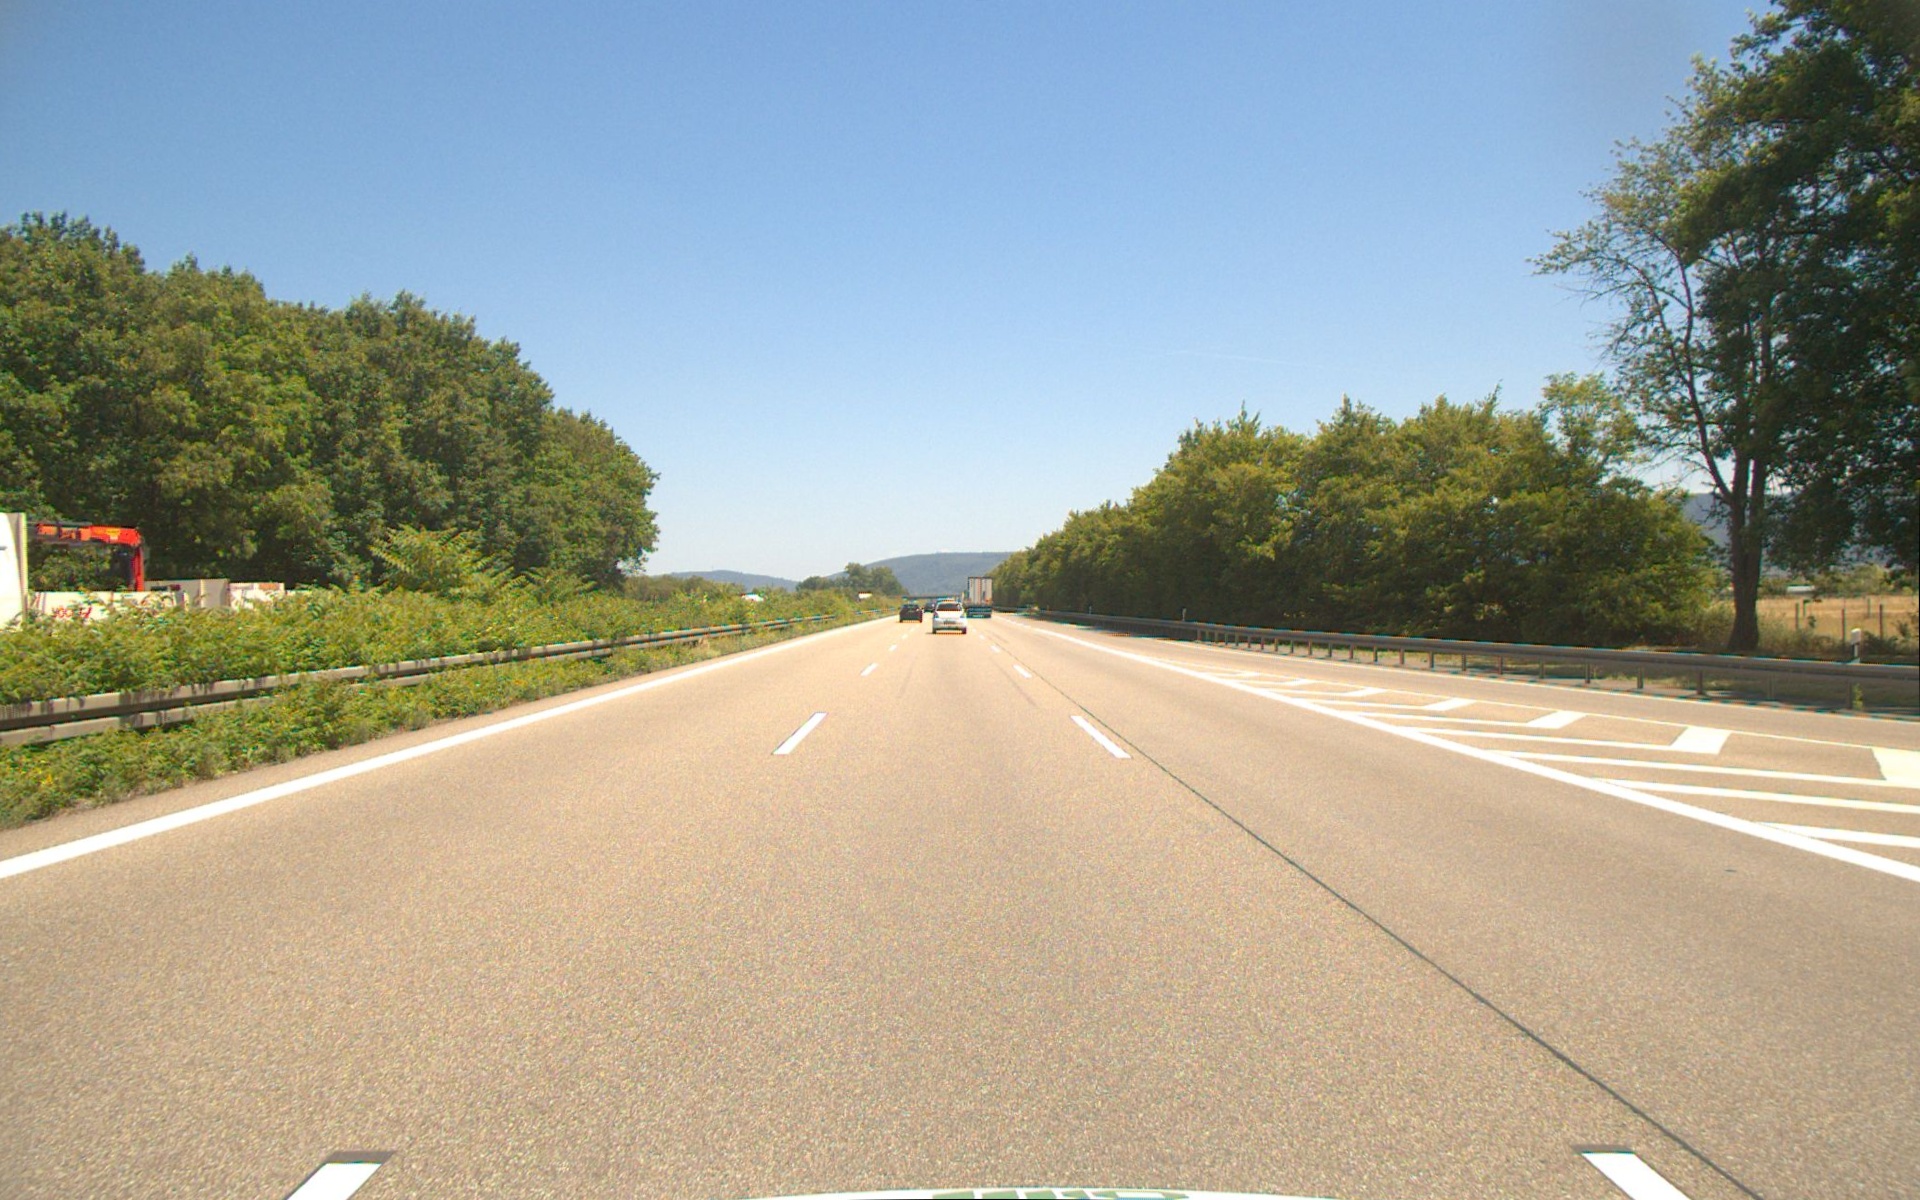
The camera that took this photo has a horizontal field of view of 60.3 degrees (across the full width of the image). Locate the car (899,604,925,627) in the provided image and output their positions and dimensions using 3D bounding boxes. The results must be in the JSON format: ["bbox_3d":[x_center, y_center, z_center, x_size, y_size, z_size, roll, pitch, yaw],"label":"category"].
[{"bbox_3d":[-3.625,1.168,125.473,1.953,1.742,3.999,1,0,-1],"label":"car"}]

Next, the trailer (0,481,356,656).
[{"bbox_3d":[-20.097,-0.649,42.837,3.133,3.642,15.965,1,0,-1],"label":"trailer"}]

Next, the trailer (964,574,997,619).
[{"bbox_3d":[2.226,-0.317,173.334,3.151,4.421,13.632,1,0,2],"label":"trailer"}]

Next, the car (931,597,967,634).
[{"bbox_3d":[-0.550,0.741,80.682,1.697,1.713,3.999,-1,0,-1],"label":"car"}]

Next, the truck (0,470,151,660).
[{"bbox_3d":[-20.007,-0.683,34.146,3.133,3.642,6.995,1,0,-1],"label":"truck"}]
